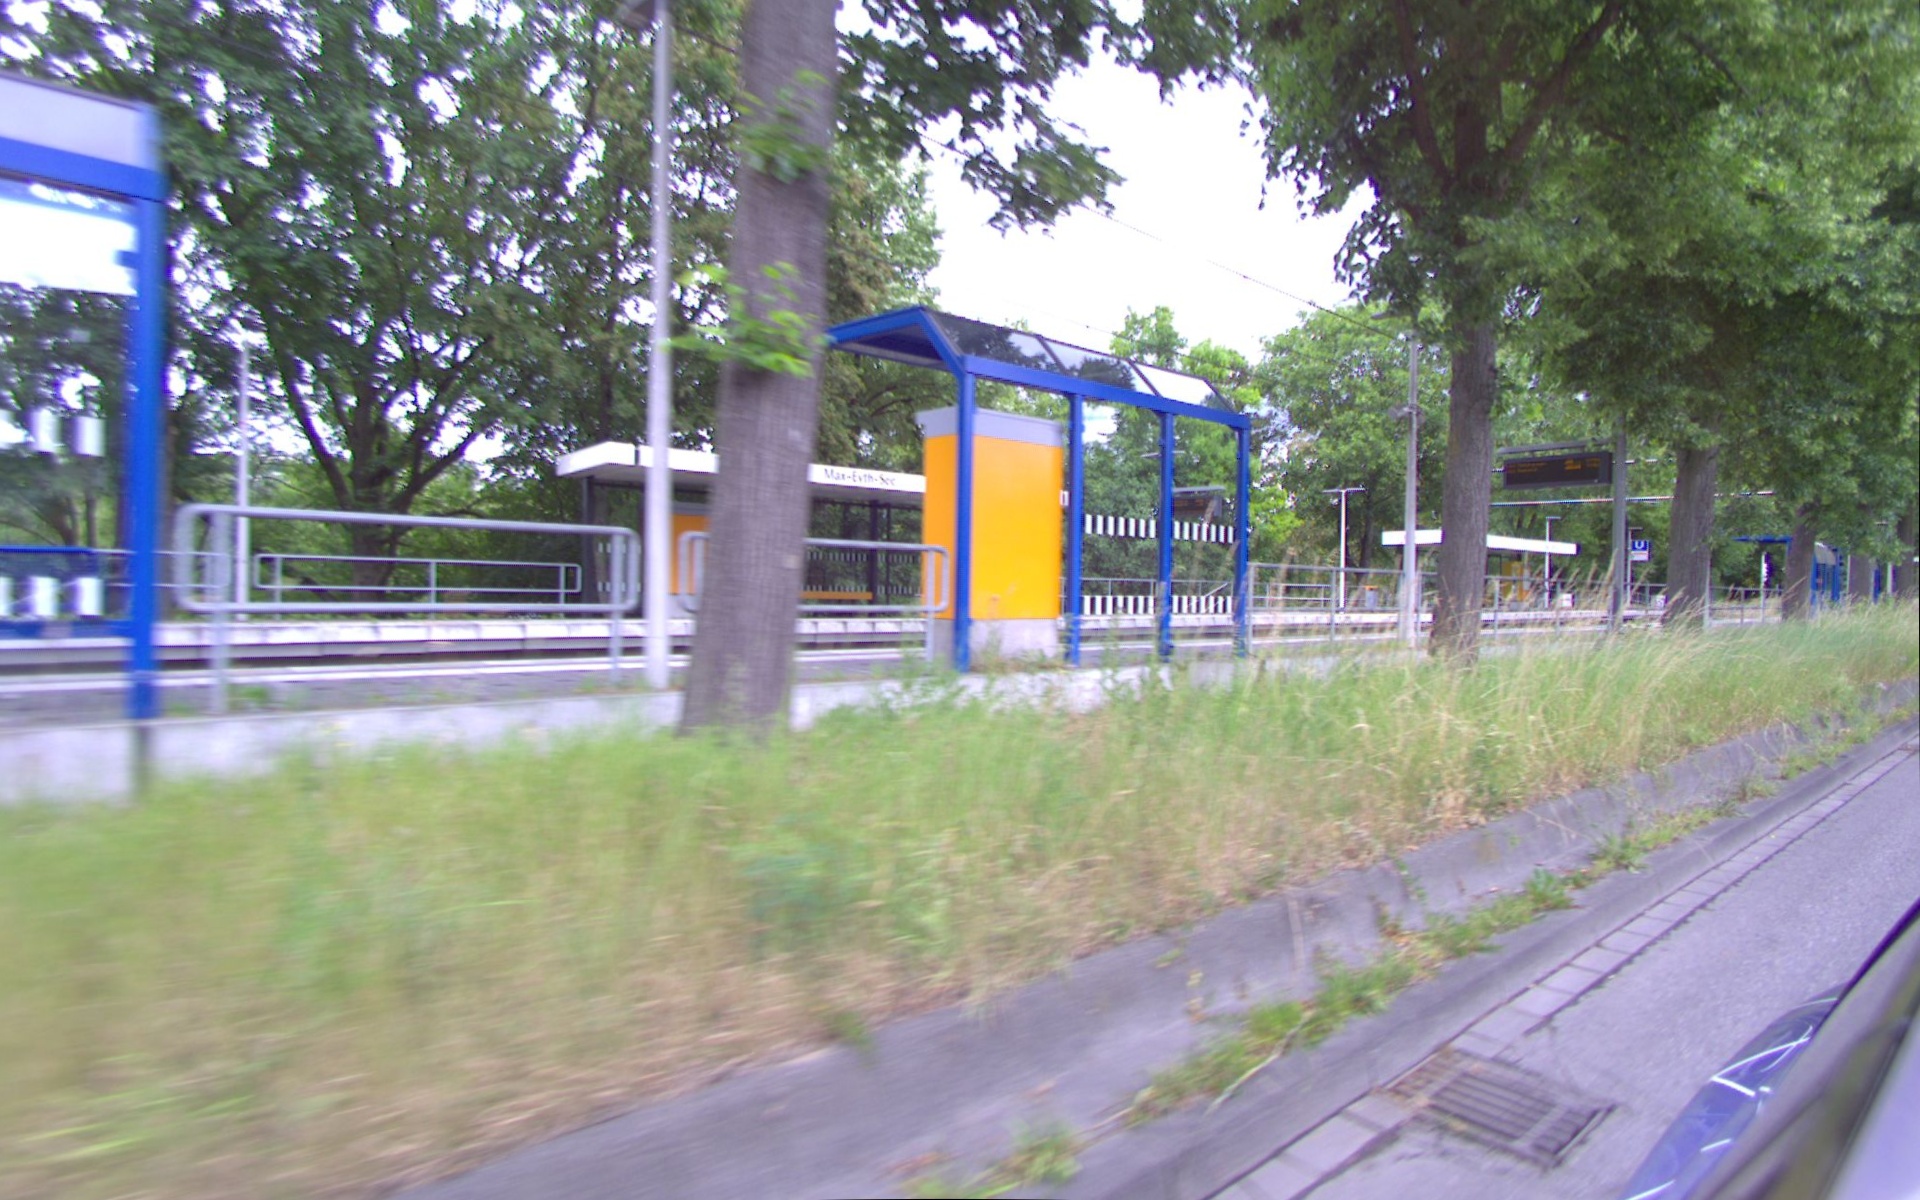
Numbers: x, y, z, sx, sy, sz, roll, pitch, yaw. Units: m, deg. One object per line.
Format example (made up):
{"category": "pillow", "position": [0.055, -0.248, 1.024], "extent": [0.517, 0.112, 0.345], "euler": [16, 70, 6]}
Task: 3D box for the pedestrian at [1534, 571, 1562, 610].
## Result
{"category": "pedestrian", "position": [23.432, -0.395, 40.305], "extent": [0.711, 1.530, 0.720], "euler": [-1, -1, -38]}
